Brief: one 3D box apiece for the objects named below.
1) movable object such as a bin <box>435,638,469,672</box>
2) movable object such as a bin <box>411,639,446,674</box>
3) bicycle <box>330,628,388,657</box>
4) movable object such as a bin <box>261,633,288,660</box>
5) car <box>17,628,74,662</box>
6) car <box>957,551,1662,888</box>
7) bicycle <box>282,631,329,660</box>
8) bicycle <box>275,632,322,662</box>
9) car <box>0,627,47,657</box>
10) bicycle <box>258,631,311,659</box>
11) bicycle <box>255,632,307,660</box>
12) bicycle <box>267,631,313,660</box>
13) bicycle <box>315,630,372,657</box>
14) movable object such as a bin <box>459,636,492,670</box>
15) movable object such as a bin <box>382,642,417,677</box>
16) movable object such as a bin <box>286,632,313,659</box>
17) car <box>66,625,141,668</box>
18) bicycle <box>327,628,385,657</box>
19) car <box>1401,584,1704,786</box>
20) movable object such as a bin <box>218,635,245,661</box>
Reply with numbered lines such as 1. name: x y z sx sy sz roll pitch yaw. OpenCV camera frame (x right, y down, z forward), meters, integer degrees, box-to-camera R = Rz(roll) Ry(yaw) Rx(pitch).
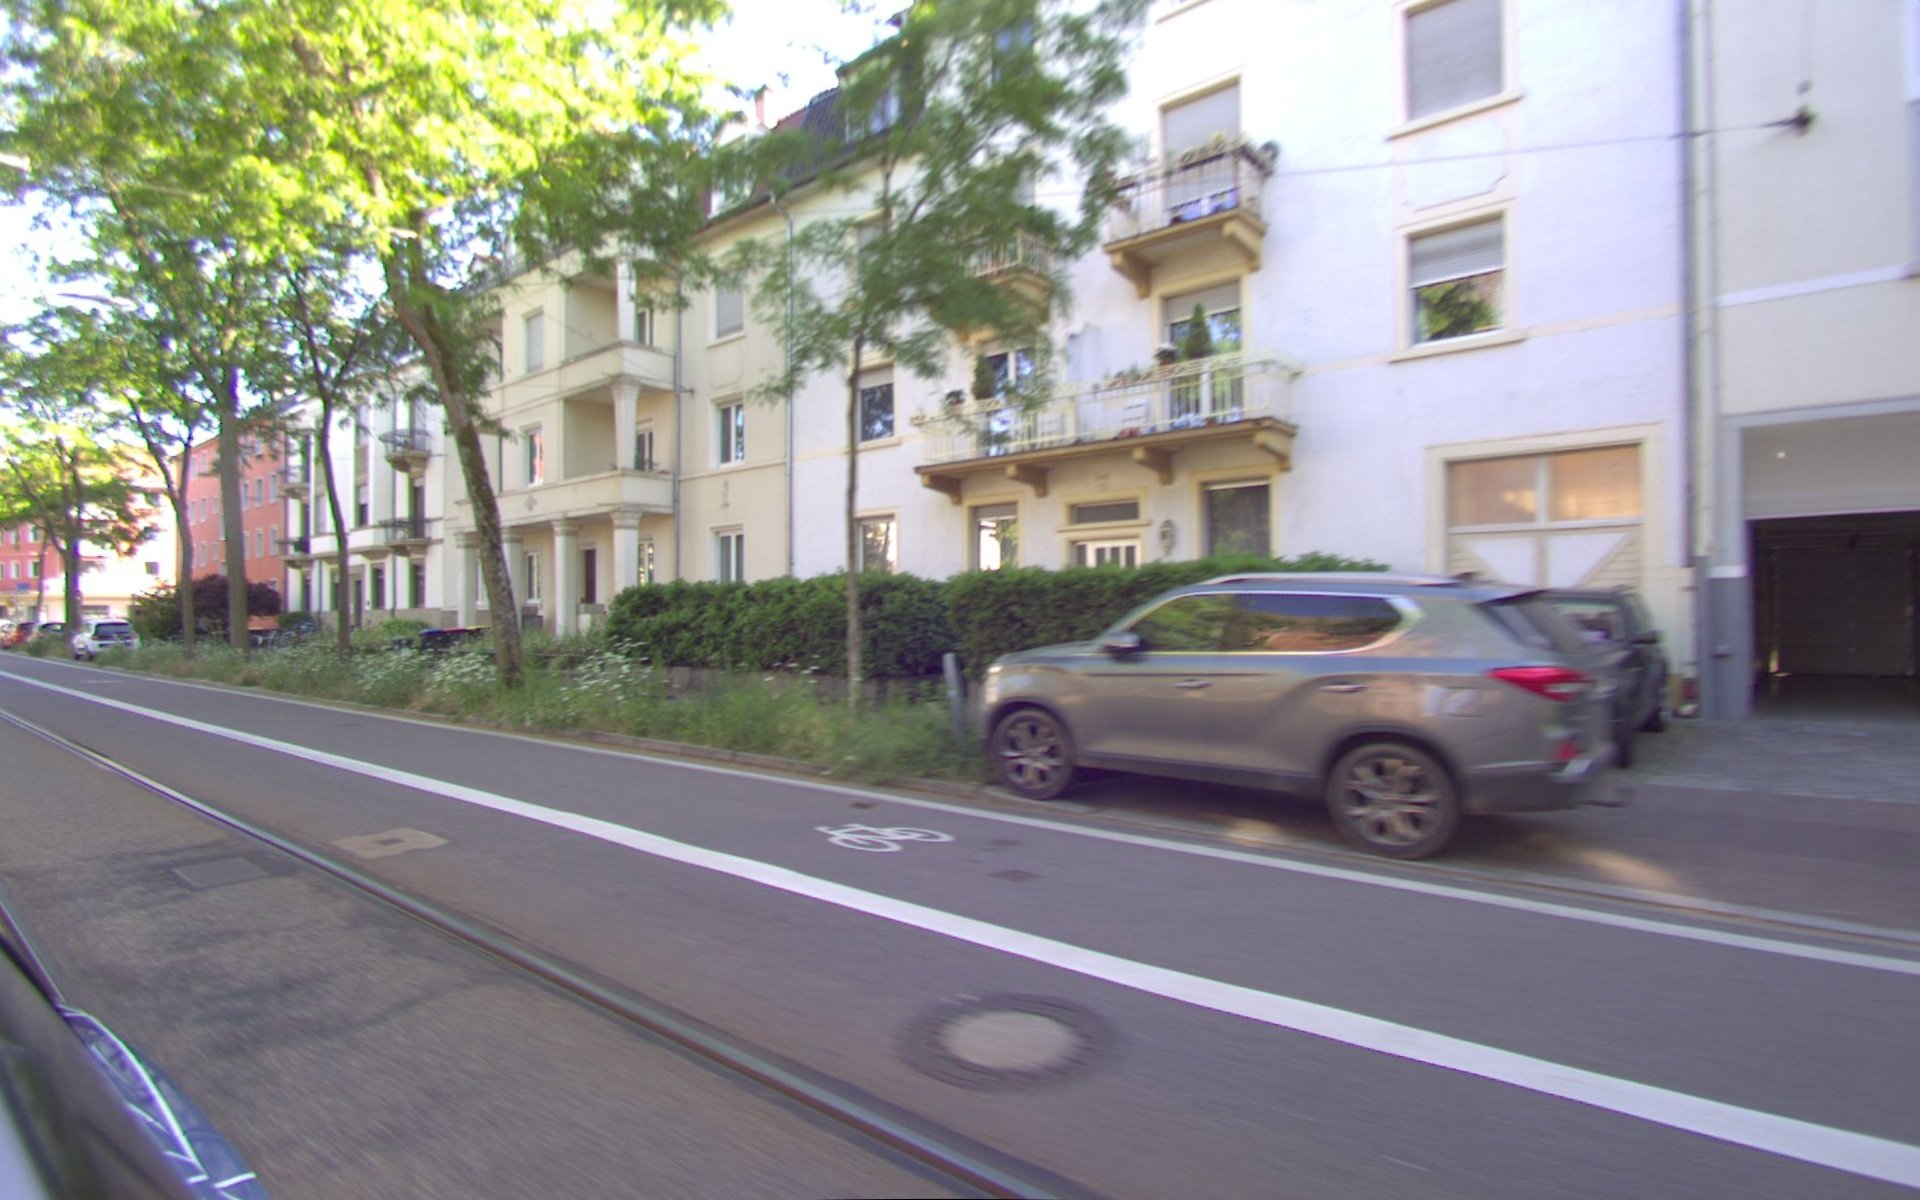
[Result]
1. movable object such as a bin: -14.452 1.553 28.796 0.739 0.928 0.621 -1 0 41
2. movable object such as a bin: -14.887 1.583 28.331 0.739 0.928 0.621 -1 0 41
3. bicycle: -22.982 1.614 38.723 1.833 1.004 0.559 -2 -1 -8
4. movable object such as a bin: -28.664 1.951 42.321 0.895 1.093 0.730 -1 -2 41
5. car: -42.713 2.063 47.251 3.666 1.465 1.538 -1 -1 41
6. car: 2.398 0.690 7.776 4.767 1.836 1.851 -1 -1 40
7. bicycle: -23.074 1.592 35.715 0.550 1.004 1.863 0 -1 -3
8. bicycle: -23.813 1.680 36.443 0.550 1.004 1.863 0 -1 -3
9. car: -49.397 2.203 53.107 4.091 1.465 1.558 -1 -1 38
10. bicycle: -26.017 1.728 39.021 0.552 1.004 1.855 -1 -1 12
11. bicycle: -25.480 1.712 38.015 0.551 1.004 1.858 -1 -1 7
12. bicycle: -24.611 1.671 37.214 0.550 1.004 1.863 0 -1 -3
13. bicycle: -24.378 1.716 40.029 1.833 1.004 0.559 -2 -1 -8
14. movable object such as a bin: -14.030 1.531 29.303 0.739 0.928 0.621 -1 0 41
15. movable object such as a bin: -15.484 1.632 27.934 0.739 0.928 0.621 -1 0 41
16. movable object such as a bin: -28.085 1.942 43.027 0.895 1.122 0.730 -2 -2 41
17. car: -33.526 1.793 39.590 3.686 1.546 1.609 -1 -1 40
18. bicycle: -23.513 1.647 39.411 1.833 1.004 0.559 -2 -1 -8
19. car: 6.482 0.715 10.831 1.952 1.673 4.255 -2 0 42
20. movable object such as a bin: -29.646 1.950 41.184 0.895 1.049 0.730 -1 -2 41
